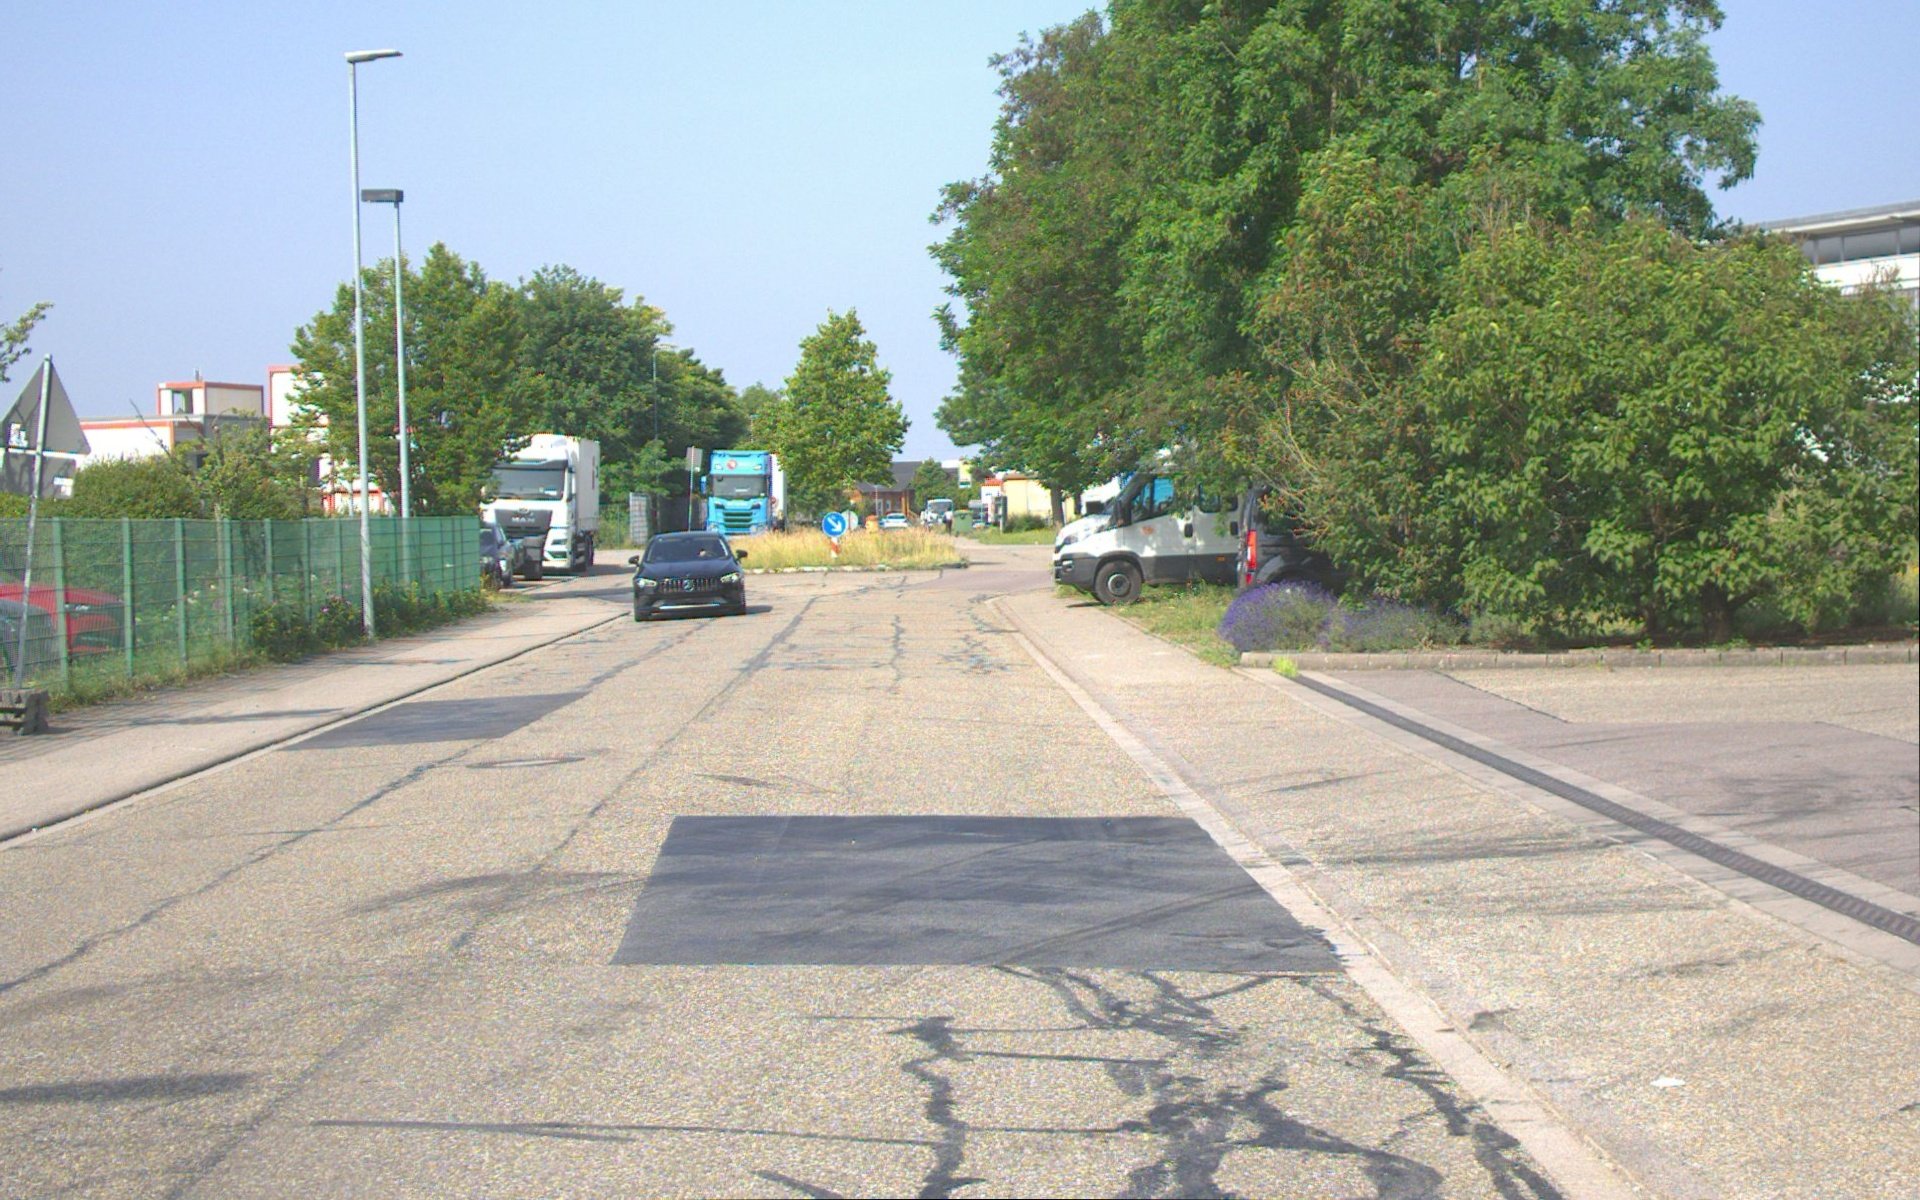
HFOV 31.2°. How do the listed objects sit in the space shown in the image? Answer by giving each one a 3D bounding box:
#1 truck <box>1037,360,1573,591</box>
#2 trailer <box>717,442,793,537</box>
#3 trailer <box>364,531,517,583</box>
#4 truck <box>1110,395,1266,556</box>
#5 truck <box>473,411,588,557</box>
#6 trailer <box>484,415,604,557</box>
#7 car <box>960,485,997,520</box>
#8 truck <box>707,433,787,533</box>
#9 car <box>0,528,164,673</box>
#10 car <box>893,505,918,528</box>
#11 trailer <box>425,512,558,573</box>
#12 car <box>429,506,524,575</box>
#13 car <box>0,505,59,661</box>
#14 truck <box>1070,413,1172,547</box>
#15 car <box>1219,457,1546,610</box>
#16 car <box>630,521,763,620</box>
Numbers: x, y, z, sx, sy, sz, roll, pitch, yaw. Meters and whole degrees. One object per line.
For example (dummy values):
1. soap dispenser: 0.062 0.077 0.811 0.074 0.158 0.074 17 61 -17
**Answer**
1. truck: 5.478 -1.983 55.526 8.208 3.358 2.741 -2 1 -2
2. trailer: -8.820 -4.719 149.043 2.831 3.829 12.037 0 1 -1
3. trailer: -11.341 -0.965 75.538 2.546 0.922 6.711 2 2 -2
4. truck: 5.506 -2.965 84.839 2.888 3.523 9.755 -5 1 0
5. truck: -11.831 -3.158 94.953 2.708 3.908 4.297 0 1 -2
6. trailer: -11.946 -3.217 99.282 2.699 3.908 7.576 0 1 -2
7. car: 0.954 -5.078 180.200 1.792 1.744 4.000 0 1 -2
8. truck: -8.584 -4.671 139.489 2.825 3.812 9.673 0 1 -1
9. car: -11.026 0.073 36.747 4.536 1.439 1.952 -3 1 -1
10. car: -4.016 -6.113 252.048 1.718 1.655 3.824 0 1 -3
11. trailer: -12.009 -1.498 88.423 2.681 1.448 5.077 -1 2 0
12. car: -11.542 -1.456 82.330 1.695 1.556 4.336 1 2 -1
13. car: -10.861 -0.074 32.695 4.040 1.439 1.874 -3 1 -1
14. truck: 5.067 -3.790 108.775 2.746 3.968 4.000 -4 2 -1
15. car: 5.466 -0.872 44.905 3.987 1.831 2.000 -2 1 1
16. car: -4.364 -0.523 57.488 1.993 1.444 4.420 -4 2 -2
